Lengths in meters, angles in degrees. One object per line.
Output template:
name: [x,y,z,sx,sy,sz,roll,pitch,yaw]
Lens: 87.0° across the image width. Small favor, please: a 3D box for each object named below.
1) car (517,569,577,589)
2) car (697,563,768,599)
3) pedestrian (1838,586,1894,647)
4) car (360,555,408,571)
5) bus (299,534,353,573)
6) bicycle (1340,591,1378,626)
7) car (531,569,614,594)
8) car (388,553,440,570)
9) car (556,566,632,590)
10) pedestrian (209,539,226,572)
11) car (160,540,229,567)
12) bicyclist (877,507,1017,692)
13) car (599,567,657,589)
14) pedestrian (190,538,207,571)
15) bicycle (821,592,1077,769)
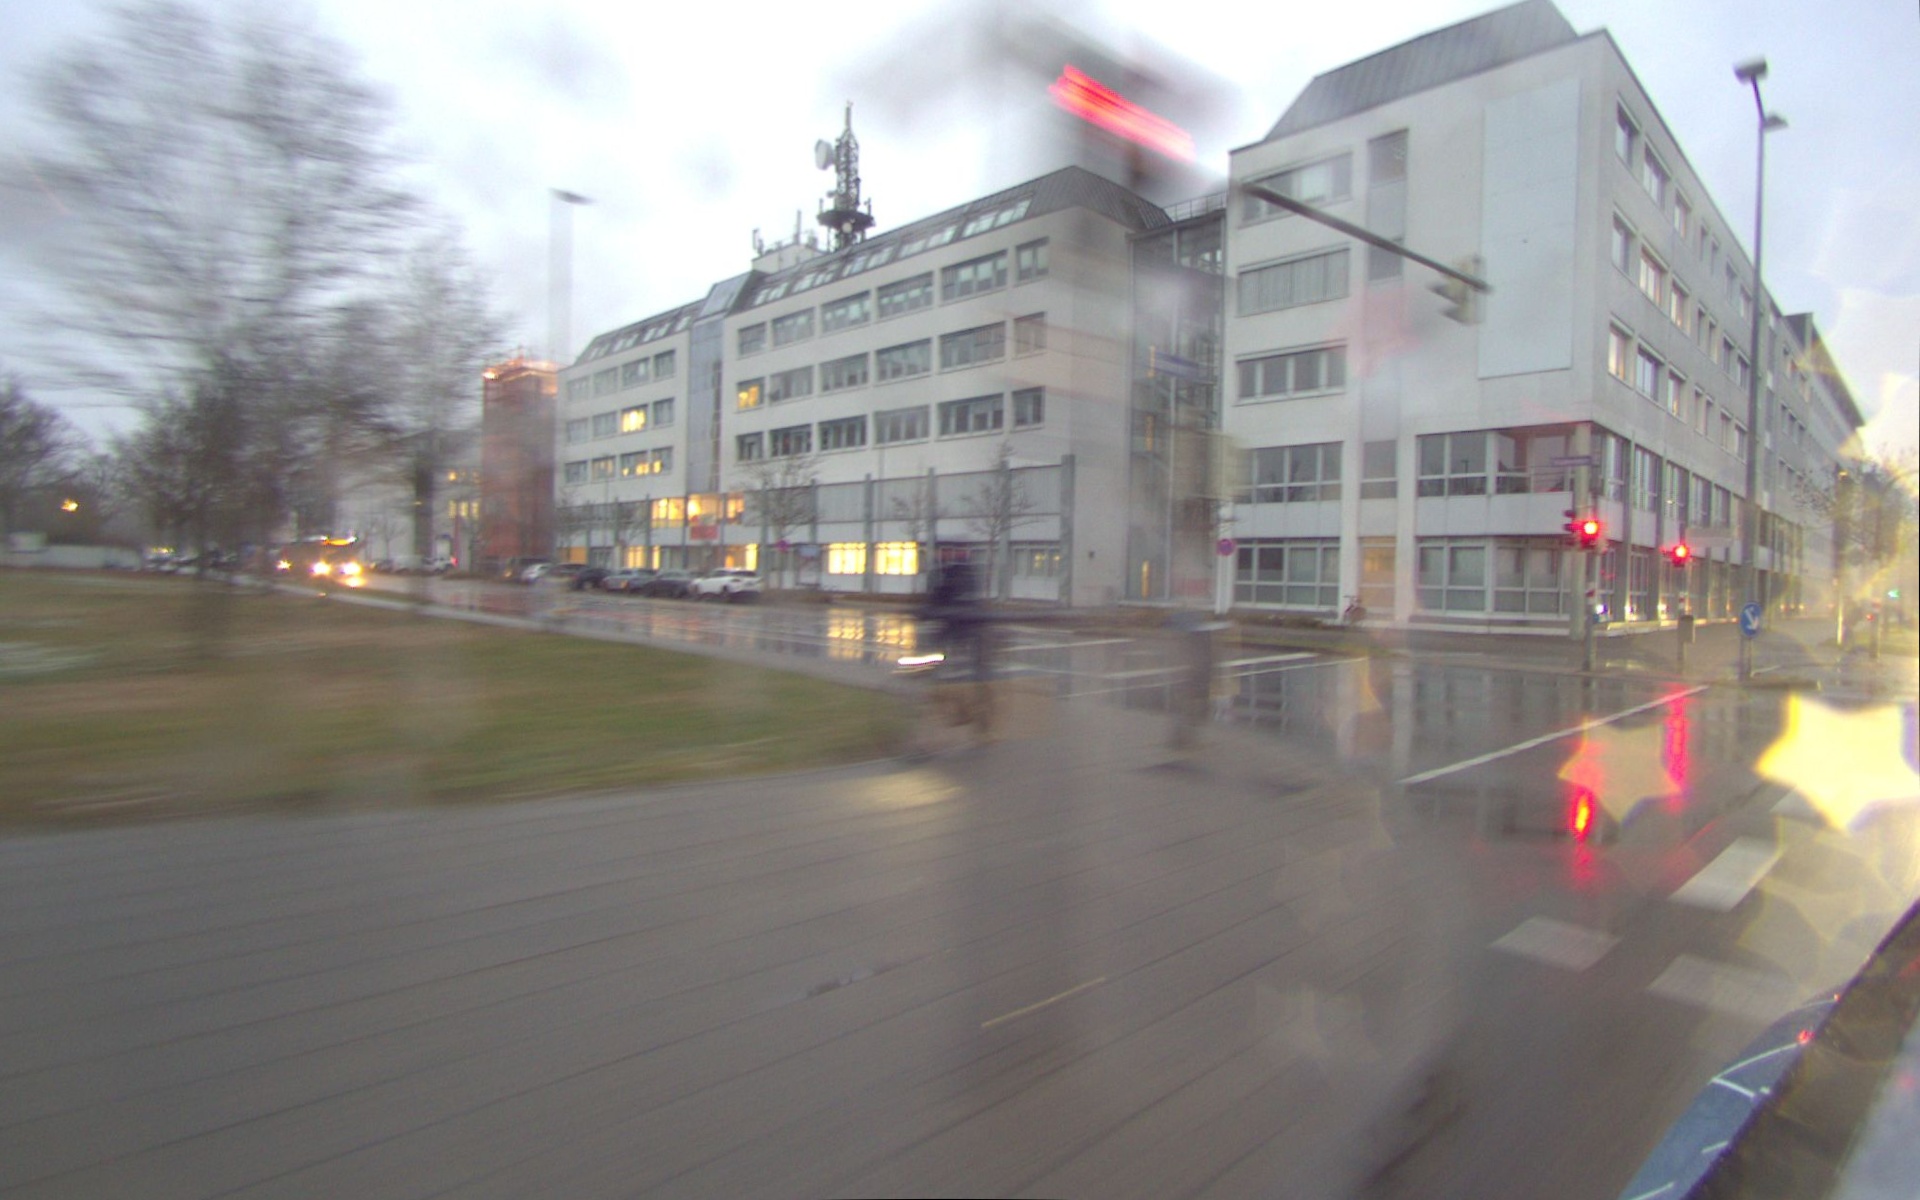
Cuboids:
car: [-28.158,-1.435,69.089,3.440,1.330,1.701,-1,1,-44]
car: [-10.918,-0.893,48.532,1.967,1.657,3.272,-1,1,-43]
pedestrian: [27.930,0.506,31.211,0.843,1.771,0.801,3,4,-17]
car: [-55.878,-3.547,98.233,3.800,1.472,1.668,-1,1,-42]
bus: [-49.141,-3.558,78.372,2.258,2.746,8.133,-1,1,-41]
bicycle: [13.317,0.259,33.771,0.470,1.118,1.845,3,2,45]
car: [-25.035,-1.190,65.501,4.731,1.575,1.769,-1,1,-42]
car: [-48.999,-3.477,90.883,3.800,1.472,1.668,-1,1,-42]
car: [-22.764,-1.383,63.005,4.066,1.439,1.768,-1,1,-44]
pedestrian: [-46.817,-2.807,63.818,0.802,2.039,0.750,-1,1,-43]
car: [-59.341,-3.578,78.568,4.202,2.039,2.000,-1,1,-36]
bicyclist: [-0.110,-0.014,8.540,0.911,1.448,0.752,-1,1,-42]
car: [-19.204,-1.251,58.517,3.707,1.199,1.517,0,1,42]
pedestrian: [-47.778,-2.859,63.482,0.787,2.039,0.641,-1,0,-38]
bicycle: [-0.133,0.601,8.545,1.963,1.231,1.024,3,1,43]
